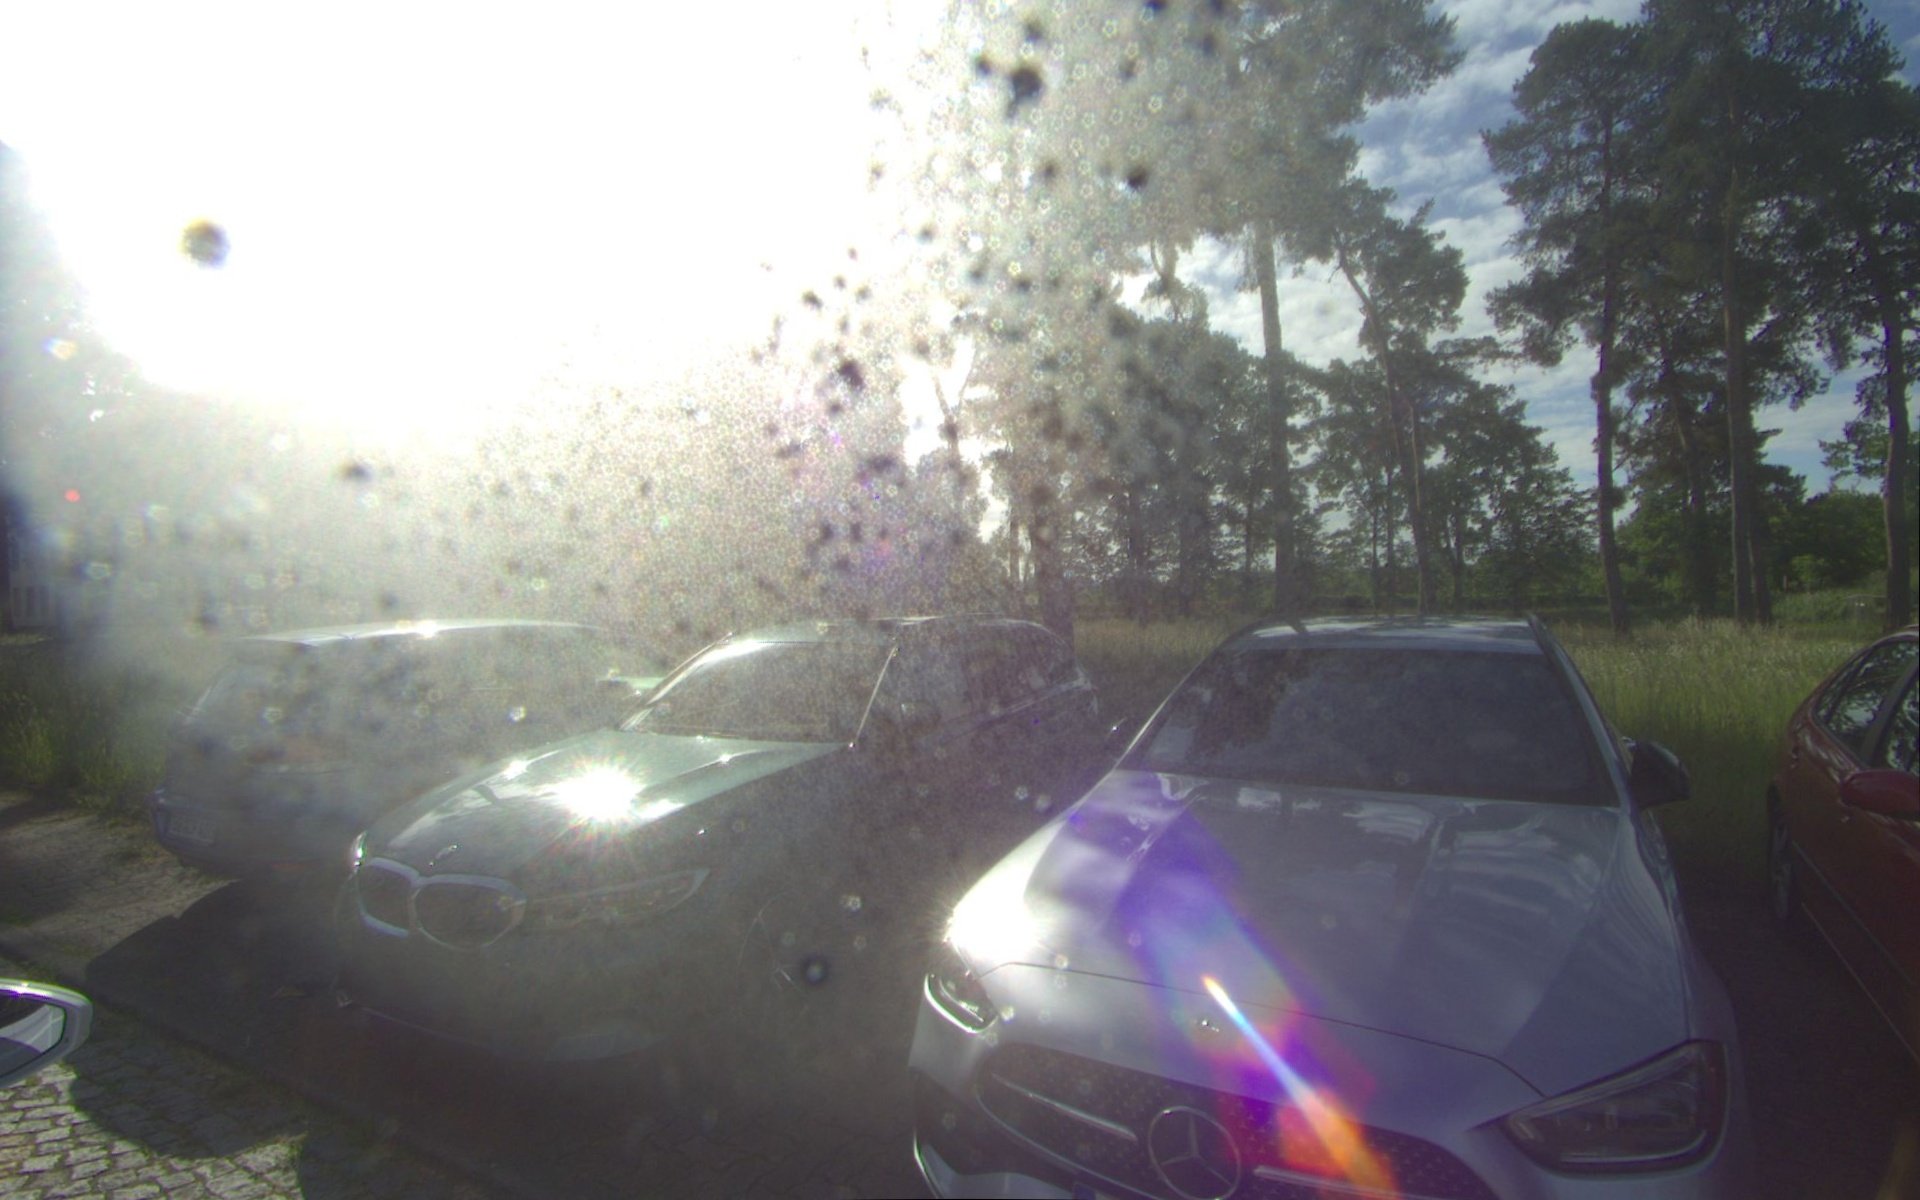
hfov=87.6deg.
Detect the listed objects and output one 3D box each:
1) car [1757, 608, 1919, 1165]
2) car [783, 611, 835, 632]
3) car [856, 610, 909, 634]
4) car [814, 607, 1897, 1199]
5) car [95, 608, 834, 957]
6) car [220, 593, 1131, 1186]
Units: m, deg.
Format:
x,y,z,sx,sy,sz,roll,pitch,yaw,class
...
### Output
x,y,z,sx,sy,sz,roll,pitch,yaw,class
3.522,0.774,2.697,1.637,1.412,3.900,-1,1,31,car
-11.109,1.559,73.884,1.819,1.483,3.984,0,0,28,car
-5.325,1.484,69.198,1.827,1.619,3.984,0,0,28,car
1.573,0.806,3.681,1.799,1.421,4.403,-1,1,31,car
-2.809,0.829,6.607,1.844,1.480,4.008,-1,0,31,car
-0.724,0.764,5.054,1.798,1.537,4.489,-1,1,28,car
